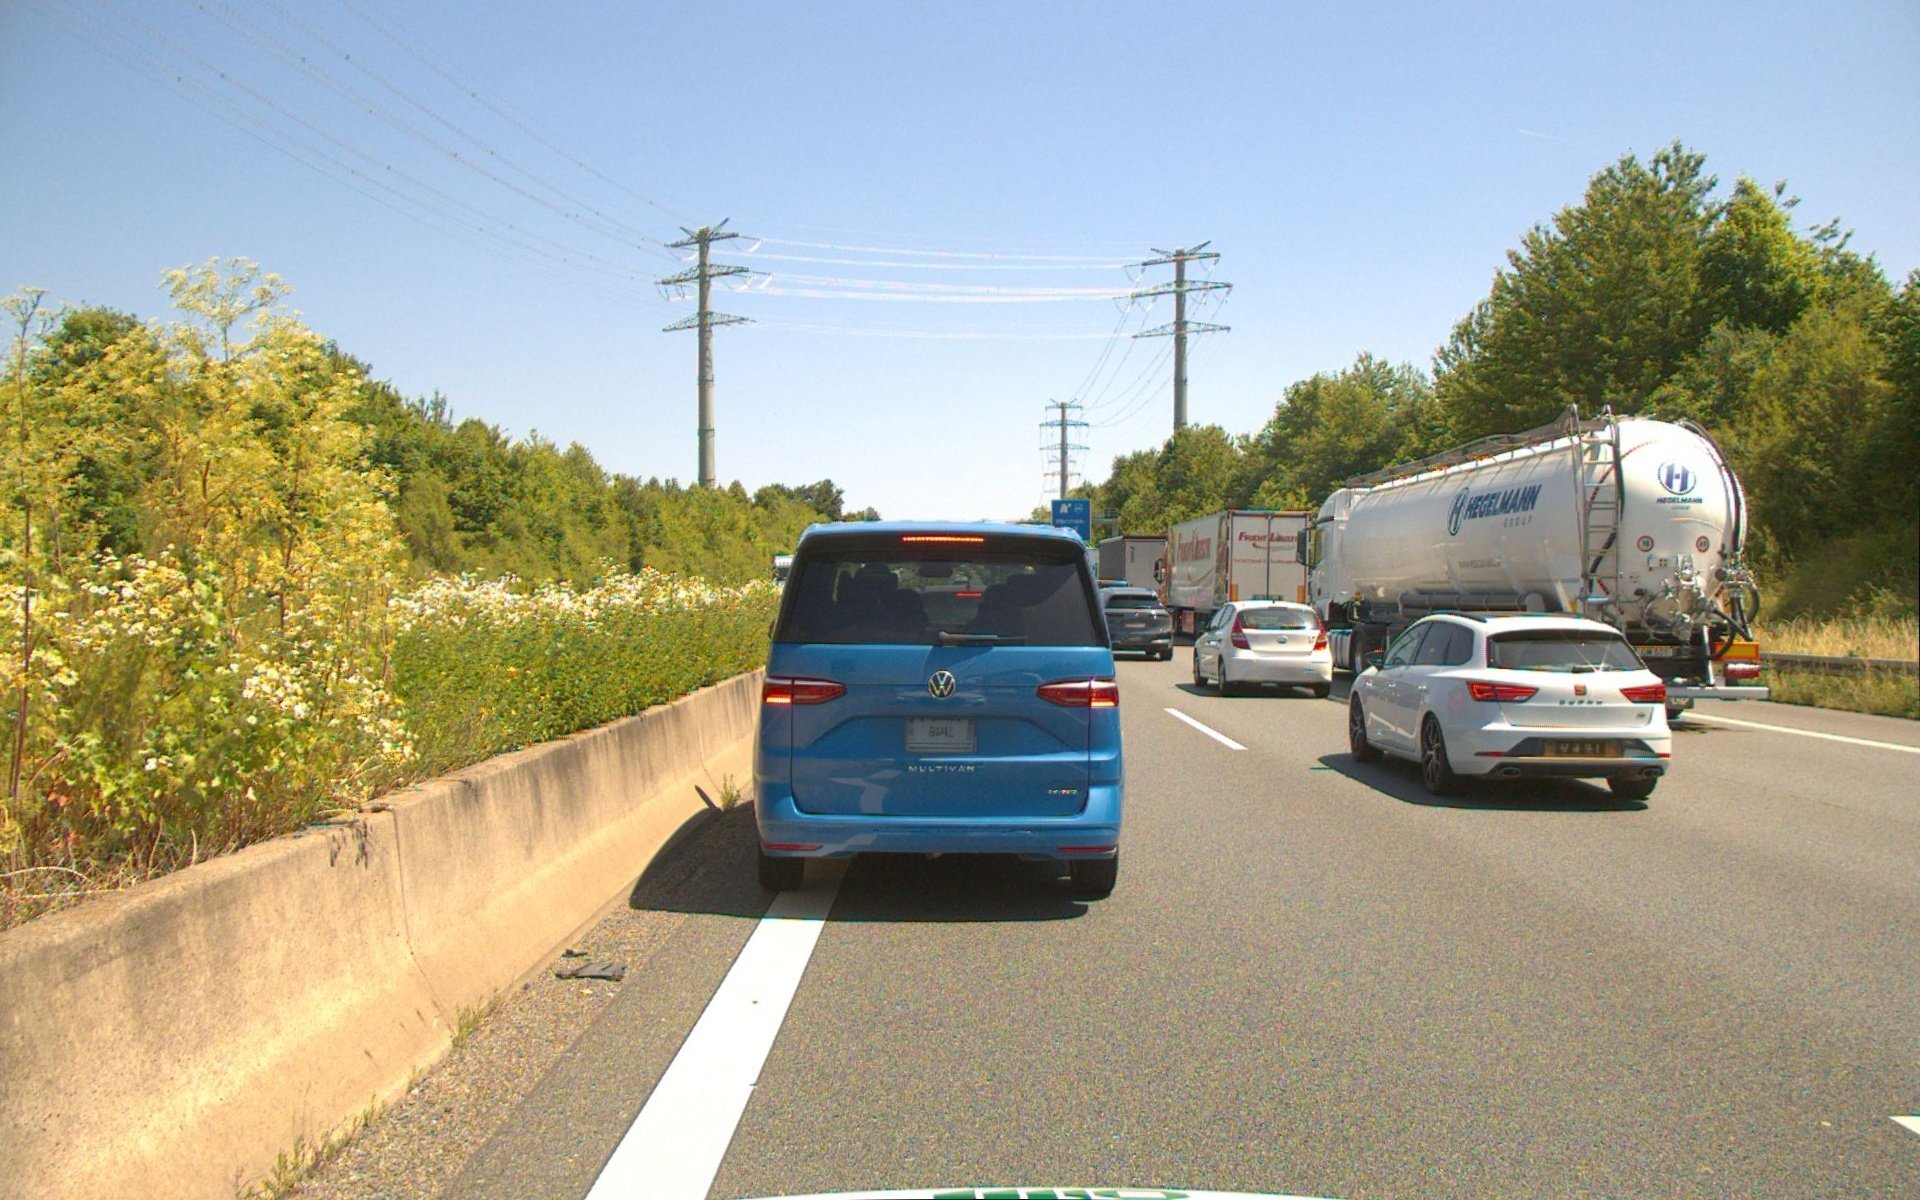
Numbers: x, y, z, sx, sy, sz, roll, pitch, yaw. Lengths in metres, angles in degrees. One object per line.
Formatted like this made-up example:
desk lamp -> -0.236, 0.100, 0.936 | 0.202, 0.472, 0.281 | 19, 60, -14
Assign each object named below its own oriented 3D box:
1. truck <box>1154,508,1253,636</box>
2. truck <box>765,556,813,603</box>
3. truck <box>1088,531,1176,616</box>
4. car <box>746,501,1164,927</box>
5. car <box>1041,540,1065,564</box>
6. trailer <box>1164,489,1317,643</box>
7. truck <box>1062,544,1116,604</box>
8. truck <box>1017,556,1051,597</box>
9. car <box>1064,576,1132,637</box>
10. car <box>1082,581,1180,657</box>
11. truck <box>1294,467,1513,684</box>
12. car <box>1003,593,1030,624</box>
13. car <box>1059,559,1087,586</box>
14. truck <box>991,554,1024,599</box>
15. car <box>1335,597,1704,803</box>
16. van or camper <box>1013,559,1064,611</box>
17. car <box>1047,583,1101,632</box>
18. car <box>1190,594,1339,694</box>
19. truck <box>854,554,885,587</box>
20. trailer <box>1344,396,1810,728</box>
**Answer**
truck -> 9.051, -0.995, 61.973 | 2.853, 4.547, 5.141 | -1, 0, -1
truck -> -14.920, -1.769, 145.109 | 2.852, 3.886, 11.943 | 1, 0, 0
truck -> 8.419, -1.173, 83.079 | 2.944, 3.832, 15.713 | 0, 0, 1
car -> -0.022, 0.512, 9.549 | 1.881, 1.919, 4.000 | 1, 0, 0
car -> 8.445, -4.335, 151.000 | 1.953, 2.049, 4.000 | 0, 0, 0
trailer -> 9.105, -1.004, 55.342 | 2.853, 4.547, 12.152 | -1, 0, -1
truck -> 8.815, -1.705, 114.437 | 2.836, 3.832, 13.345 | 0, 0, 1
truck -> 8.720, -2.747, 196.546 | 3.493, 4.596, 10.291 | 0, 0, -1
car -> 4.738, 0.249, 57.179 | 1.884, 1.959, 4.234 | -2, -1, -1
car -> 4.150, 0.479, 40.778 | 1.958, 1.745, 4.625 | -1, -1, 0
truck -> 8.593, -0.445, 32.731 | 2.736, 3.903, 5.571 | -1, 0, -1
car -> 3.937, 0.600, 115.535 | 1.798, 2.033, 4.000 | -1, -1, 1
car -> 8.906, -2.173, 130.322 | 1.953, 2.049, 4.000 | 0, 0, 0
truck -> 4.225, -2.031, 149.125 | 2.836, 3.832, 10.140 | 0, 0, 1
car -> 4.557, 0.753, 14.183 | 1.712, 1.468, 4.313 | -1, -1, 0
van or camper -> 4.754, -0.851, 100.944 | 2.896, 3.075, 7.103 | 0, 0, 1
car -> 4.781, 0.329, 69.983 | 1.884, 1.959, 4.234 | -2, -1, -1
car -> 4.939, 0.695, 27.327 | 1.779, 1.511, 4.000 | -1, -1, 1
truck -> -10.990, -3.550, 201.486 | 3.107, 3.886, 11.943 | 1, 0, 0
trailer -> 8.665, -0.447, 25.394 | 2.705, 3.912, 11.484 | -1, 0, -1
